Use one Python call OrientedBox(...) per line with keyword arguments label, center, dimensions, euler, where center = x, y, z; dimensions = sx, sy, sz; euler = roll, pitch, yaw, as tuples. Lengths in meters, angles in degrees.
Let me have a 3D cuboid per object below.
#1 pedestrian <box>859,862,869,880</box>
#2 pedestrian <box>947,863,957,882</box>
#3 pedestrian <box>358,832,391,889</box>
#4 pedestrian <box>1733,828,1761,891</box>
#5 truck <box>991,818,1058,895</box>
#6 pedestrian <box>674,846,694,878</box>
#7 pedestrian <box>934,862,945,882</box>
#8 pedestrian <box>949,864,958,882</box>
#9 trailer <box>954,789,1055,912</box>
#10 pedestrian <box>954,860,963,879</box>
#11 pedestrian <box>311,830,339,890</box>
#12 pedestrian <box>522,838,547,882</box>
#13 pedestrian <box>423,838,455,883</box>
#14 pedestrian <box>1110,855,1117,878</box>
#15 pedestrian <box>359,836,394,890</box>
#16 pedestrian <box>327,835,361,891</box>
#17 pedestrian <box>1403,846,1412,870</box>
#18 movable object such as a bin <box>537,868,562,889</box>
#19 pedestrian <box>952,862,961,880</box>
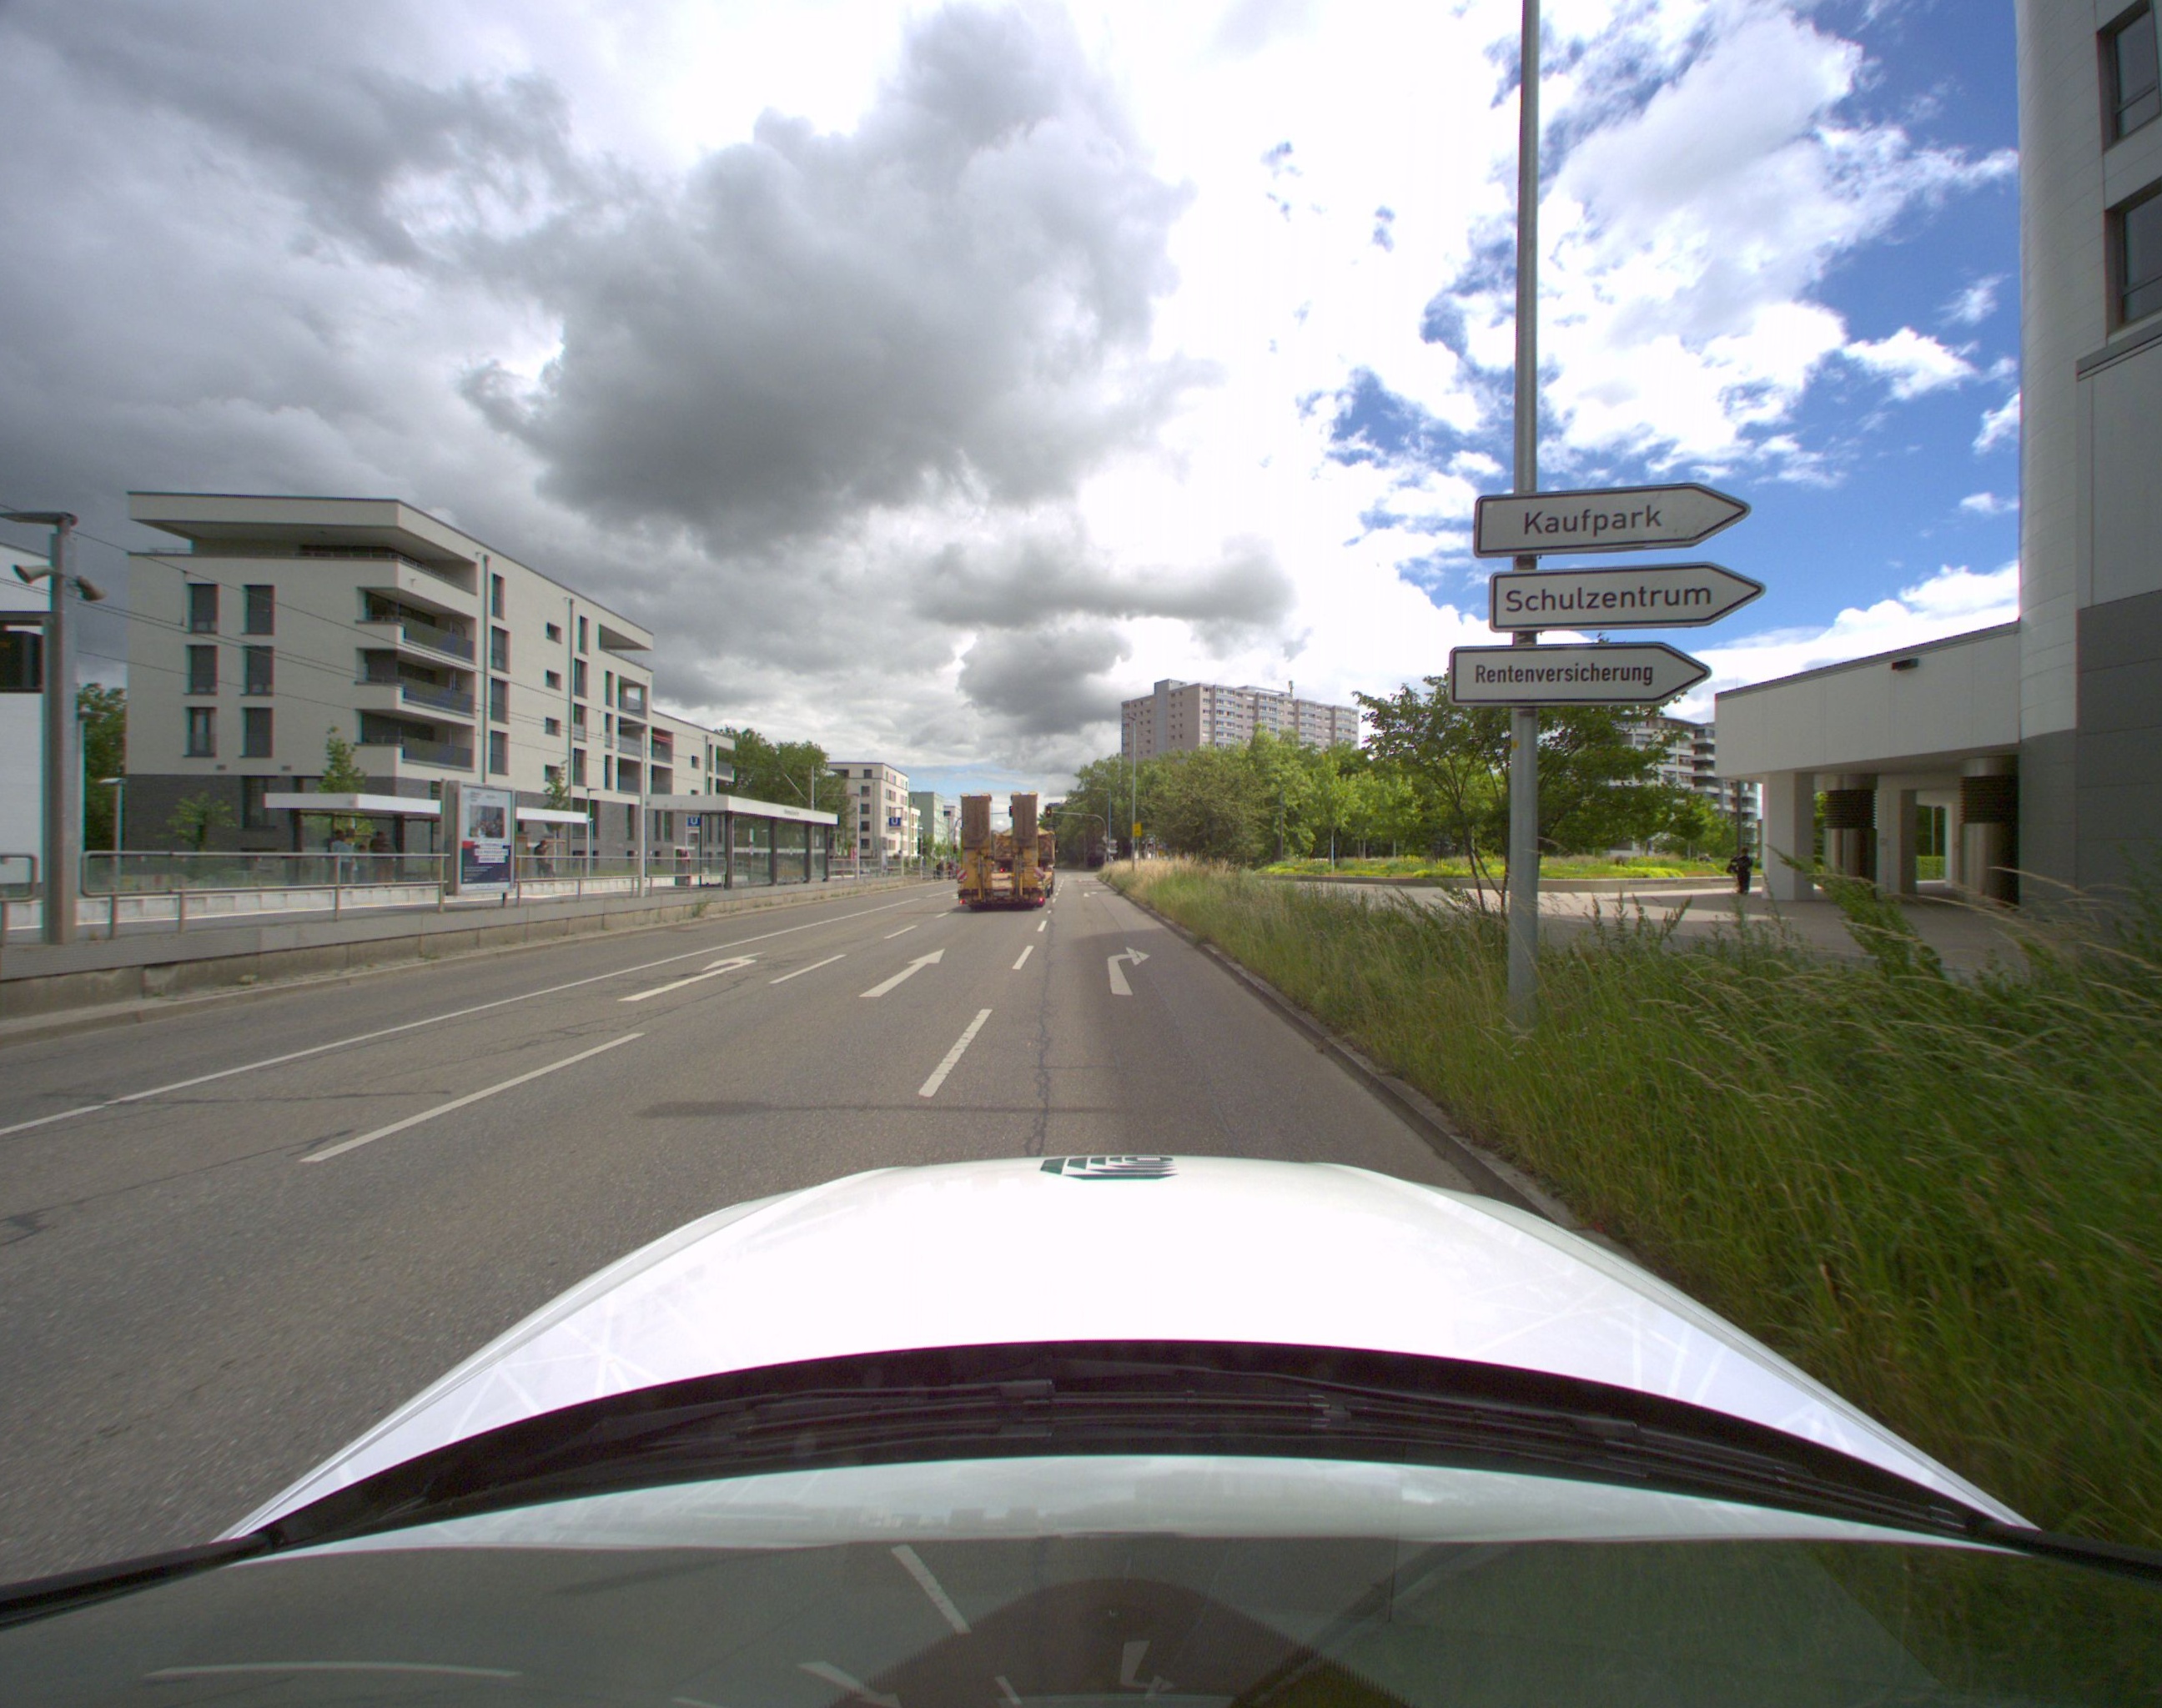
OrientedBox(label="pedestrian", center=(-25.628, 2.005, 96.237), dimensions=(0.912, 2.134, 0.934), euler=(0, -1, -1))
OrientedBox(label="pedestrian", center=(-10.933, 1.546, 68.945), dimensions=(0.679, 1.603, 0.822), euler=(0, -1, -2))
OrientedBox(label="pedestrian", center=(-22.277, 0.204, 25.681), dimensions=(0.482, 1.766, 0.682), euler=(-1, -1, 34))
OrientedBox(label="pedestrian", center=(21.753, 0.196, 26.598), dimensions=(0.686, 2.014, 0.611), euler=(-1, -6, 40))
OrientedBox(label="truck", center=(-2.554, 0.132, 38.976), dimensions=(2.745, 3.313, 8.347), euler=(0, -1, -1))
OrientedBox(label="pedestrian", center=(-21.826, 0.453, 44.783), dimensions=(0.674, 1.766, 0.933), euler=(0, -1, -3))
OrientedBox(label="pedestrian", center=(-11.781, 1.489, 67.734), dimensions=(0.818, 1.668, 0.683), euler=(0, -1, 0))
OrientedBox(label="pedestrian", center=(-10.918, 1.625, 69.776), dimensions=(0.679, 1.603, 0.822), euler=(0, -1, -2))
OrientedBox(label="trailer", center=(-2.381, -0.050, 29.165), dimensions=(2.721, 3.559, 11.248), euler=(0, -1, -1))
OrientedBox(label="pedestrian", center=(-10.888, 1.404, 72.547), dimensions=(0.679, 1.670, 0.822), euler=(0, -1, -2))
OrientedBox(label="pedestrian", center=(-22.205, 0.185, 23.929), dimensions=(0.491, 1.725, 0.670), euler=(1, -1, -35))
OrientedBox(label="pedestrian", center=(-22.205, 0.262, 33.099), dimensions=(0.559, 1.766, 0.678), euler=(0, -1, 1))
OrientedBox(label="pedestrian", center=(-22.522, 0.223, 28.584), dimensions=(0.559, 1.554, 0.678), euler=(0, -1, 1))
OrientedBox(label="pedestrian", center=(2.846, 1.106, 71.211), dimensions=(0.561, 2.014, 0.490), euler=(0, -2, -10))
OrientedBox(label="pedestrian", center=(-21.046, 0.276, 24.327), dimensions=(0.482, 1.597, 0.682), euler=(-1, -1, 34))
OrientedBox(label="pedestrian", center=(-21.316, 0.270, 23.556), dimensions=(0.483, 1.597, 0.682), euler=(-1, -1, 42))
OrientedBox(label="pedestrian", center=(26.297, 0.322, 65.632), dimensions=(0.574, 1.951, 0.405), euler=(0, -1, -1))
OrientedBox(label="movable object such as a bin", center=(-21.566, 0.999, 33.028), dimensions=(0.559, 0.850, 0.678), euler=(0, -1, 1))
OrientedBox(label="pedestrian", center=(-10.881, 1.488, 71.473), dimensions=(0.679, 1.603, 0.822), euler=(0, -1, -2))
